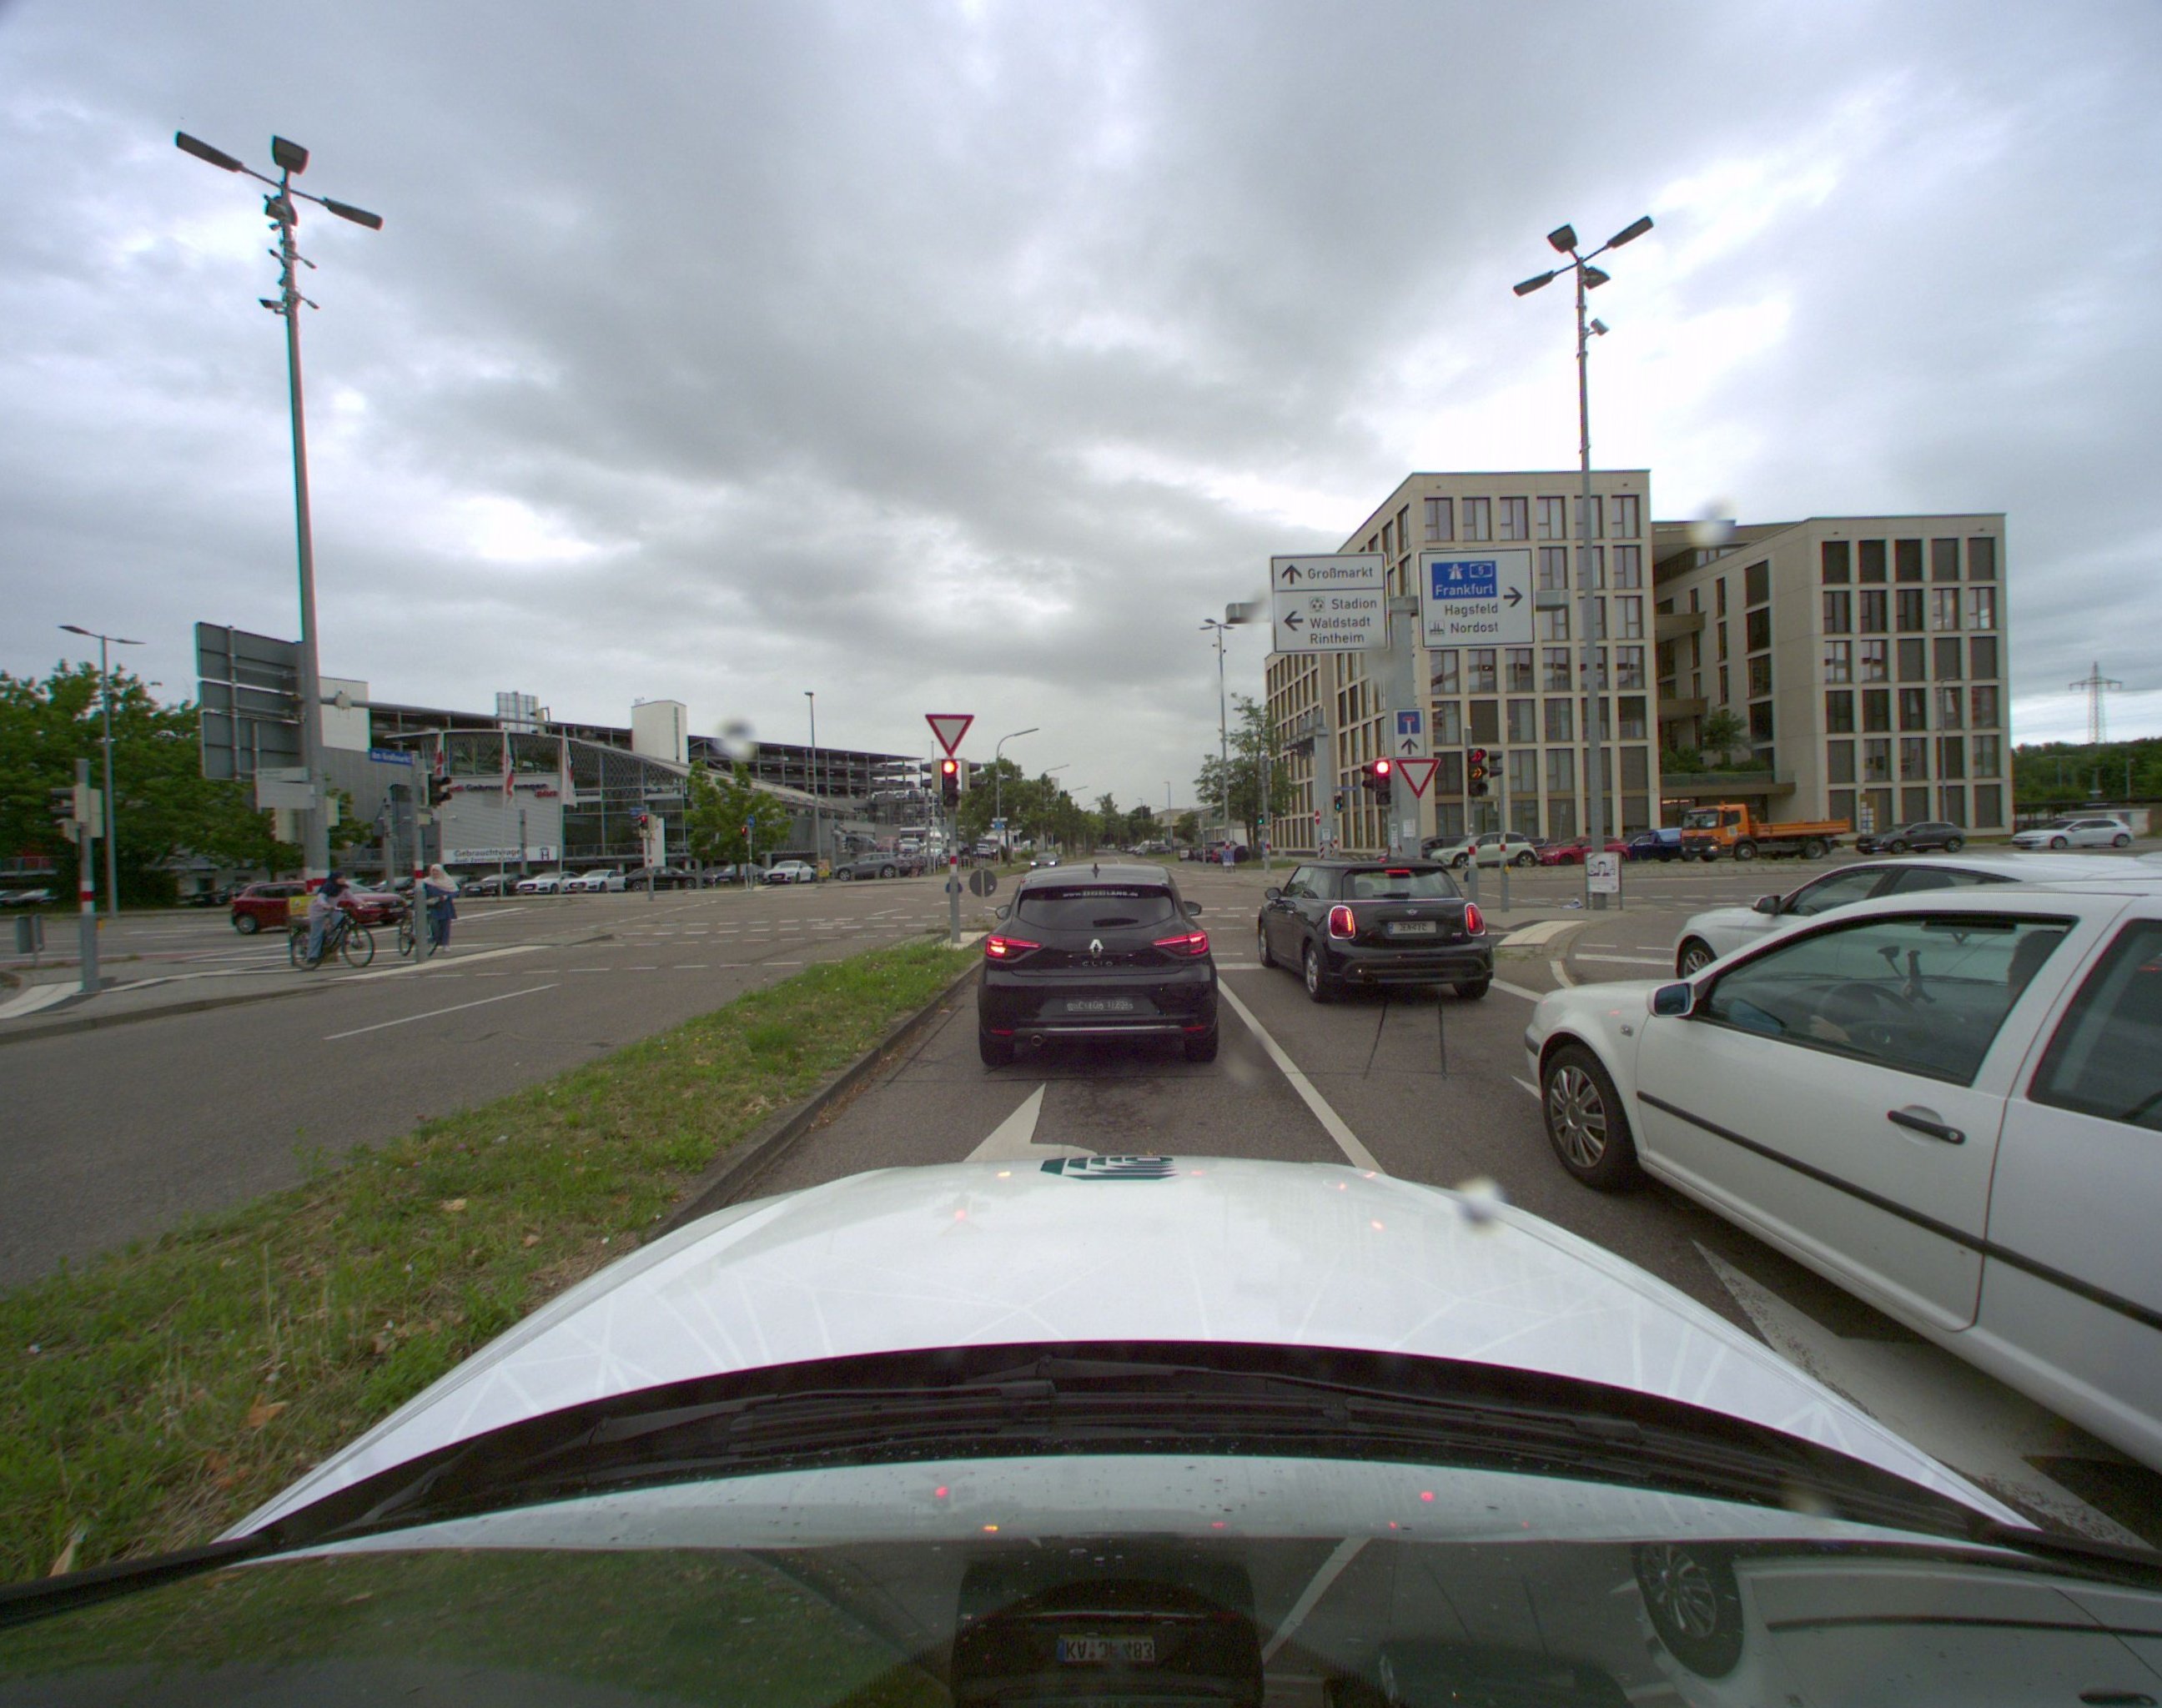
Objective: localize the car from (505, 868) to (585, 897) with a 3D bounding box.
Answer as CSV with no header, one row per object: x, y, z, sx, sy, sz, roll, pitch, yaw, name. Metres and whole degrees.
-30.094,1.604,45.893,1.865,1.486,4.041,-2,-2,-1,car

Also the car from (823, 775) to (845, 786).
-49.775,-14.799,164.119,3.948,1.667,2.013,-1,0,33,car

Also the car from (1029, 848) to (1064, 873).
-2.332,0.415,56.528,1.970,1.551,4.617,-2,1,3,car

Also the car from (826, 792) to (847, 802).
-49.441,-11.539,164.708,3.948,1.667,2.013,-1,0,33,car

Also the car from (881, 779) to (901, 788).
-41.417,-15.297,177.700,3.948,1.667,2.013,-1,0,33,car

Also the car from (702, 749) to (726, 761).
-64.426,-17.402,142.842,3.948,1.667,2.013,-1,0,33,car

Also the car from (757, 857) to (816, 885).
-16.884,0.988,46.937,1.863,1.486,4.227,-3,-2,-1,car

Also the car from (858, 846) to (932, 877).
-13.584,0.541,59.670,4.938,1.876,2.050,-4,-1,-5,car

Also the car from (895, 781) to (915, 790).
-39.143,-15.243,180.999,3.948,1.667,2.013,-1,0,33,car

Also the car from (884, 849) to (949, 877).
-13.633,0.727,67.706,4.882,2.013,1.998,-4,0,-3,car

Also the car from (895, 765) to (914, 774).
-39.226,-18.726,181.197,3.948,1.667,2.013,-1,0,33,car

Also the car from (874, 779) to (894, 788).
-42.591,-15.224,175.770,3.948,1.667,2.013,-1,0,33,car

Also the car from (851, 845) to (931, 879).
-13.249,0.529,57.032,5.011,2.013,2.264,-4,0,-3,car

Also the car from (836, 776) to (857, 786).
-48.068,-14.925,166.649,3.948,1.667,2.013,-1,0,33,car

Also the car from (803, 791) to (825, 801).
-52.461,-11.323,160.125,3.948,1.667,2.013,-1,0,33,car

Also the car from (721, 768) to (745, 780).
-62.079,-14.289,145.158,3.948,1.667,2.013,-1,0,33,car

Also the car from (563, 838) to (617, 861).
-37.732,-0.321,62.705,1.815,1.662,3.996,0,-1,-3,car

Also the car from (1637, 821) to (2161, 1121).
6.115,0.557,5.836,1.819,1.410,4.206,0,-1,8,car

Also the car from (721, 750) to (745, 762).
-62.128,-17.399,145.266,3.948,1.667,2.013,-1,0,33,car

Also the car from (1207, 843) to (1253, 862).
12.994,-0.159,70.905,4.157,1.551,1.865,-1,-1,-43,car

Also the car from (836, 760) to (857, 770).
-48.132,-18.244,166.825,3.948,1.667,2.013,-1,0,33,car

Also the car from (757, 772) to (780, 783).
-58.104,-14.274,151.243,3.948,1.667,2.013,-1,0,33,car

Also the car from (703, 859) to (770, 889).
-19.686,1.183,46.813,2.059,1.486,4.511,-3,-2,-3,car

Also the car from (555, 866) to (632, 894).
-27.531,1.493,46.177,1.841,1.486,4.196,-2,-2,-1,car

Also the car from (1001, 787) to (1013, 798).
-14.524,-12.018,159.519,1.989,1.882,3.996,-2,-1,-2,car

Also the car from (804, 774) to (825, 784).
-52.402,-14.730,160.130,3.948,1.667,2.013,-1,0,33,car

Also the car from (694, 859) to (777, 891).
-23.773,1.409,56.199,4.788,1.939,1.999,-2,0,-1,car

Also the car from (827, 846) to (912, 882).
-13.303,0.624,51.452,4.761,1.862,1.998,-4,0,-3,car

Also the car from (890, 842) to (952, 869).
-13.784,0.159,70.547,4.882,2.013,1.998,-4,0,-3,car

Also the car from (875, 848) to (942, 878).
-13.721,0.735,64.986,4.882,2.013,1.998,-4,0,-3,car

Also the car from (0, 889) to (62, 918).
-60.429,2.768,45.418,1.815,1.487,4.216,0,-6,-2,car

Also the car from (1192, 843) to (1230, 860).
12.399,-0.224,77.528,1.676,1.511,3.840,-2,-1,45,car

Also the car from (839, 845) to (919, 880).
-13.325,0.567,54.024,4.690,2.013,1.998,-4,0,-3,car

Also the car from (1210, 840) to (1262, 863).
12.682,-0.201,66.522,4.153,1.768,1.867,-1,-1,-38,car

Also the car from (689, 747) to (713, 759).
-65.623,-17.411,140.693,3.948,1.667,2.013,-1,0,33,car

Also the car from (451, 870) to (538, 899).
-32.840,1.713,45.750,1.860,1.486,4.229,-2,-2,-1,car

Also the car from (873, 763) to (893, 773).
-42.680,-18.580,175.813,3.948,1.667,2.013,-1,0,33,car

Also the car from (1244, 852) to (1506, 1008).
3.064,0.714,9.303,1.779,1.416,3.645,0,-1,2,car

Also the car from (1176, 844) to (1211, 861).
11.568,-0.154,83.864,3.451,1.732,1.745,0,-1,-40,car

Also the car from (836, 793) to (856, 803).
-48.236,-11.454,167.114,3.948,1.667,2.013,-1,0,33,car

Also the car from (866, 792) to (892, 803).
-43.734,-12.255,176.259,5.263,1.945,2.225,-1,0,30,car

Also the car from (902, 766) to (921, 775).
-38.050,-18.768,183.114,3.948,1.667,2.013,-1,0,33,car

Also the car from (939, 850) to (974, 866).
-15.203,0.498,99.475,3.975,2.014,1.999,0,-1,-1,car

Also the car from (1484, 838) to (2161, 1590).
3.059,0.707,2.432,1.826,1.478,4.006,0,-1,2,car

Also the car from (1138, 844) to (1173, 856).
11.266,-0.579,123.683,5.158,1.720,2.143,0,-1,-1,car

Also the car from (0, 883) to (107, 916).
-57.764,2.585,45.354,1.865,1.603,4.245,0,-6,-2,car

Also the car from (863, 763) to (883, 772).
-44.284,-18.424,173.643,3.948,1.667,2.013,-1,0,33,car

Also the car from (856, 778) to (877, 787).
-45.159,-15.019,171.342,3.948,1.667,2.013,-1,0,33,car

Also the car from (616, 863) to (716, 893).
-23.735,1.406,46.720,4.726,1.486,1.891,-2,-3,-2,car

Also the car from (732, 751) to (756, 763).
-61.003,-17.603,147.422,3.948,1.667,2.013,-1,0,33,car

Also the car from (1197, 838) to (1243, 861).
12.674,-0.416,74.117,1.975,1.965,4.271,-2,-1,43,car

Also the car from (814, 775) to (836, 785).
-51.016,-14.778,162.294,3.948,1.667,2.013,-1,0,33,car

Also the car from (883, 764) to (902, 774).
-41.203,-18.570,177.888,3.948,1.667,2.013,-1,0,33,car

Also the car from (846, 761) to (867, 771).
-46.687,-18.319,169.094,3.948,1.667,2.013,-1,0,33,car
